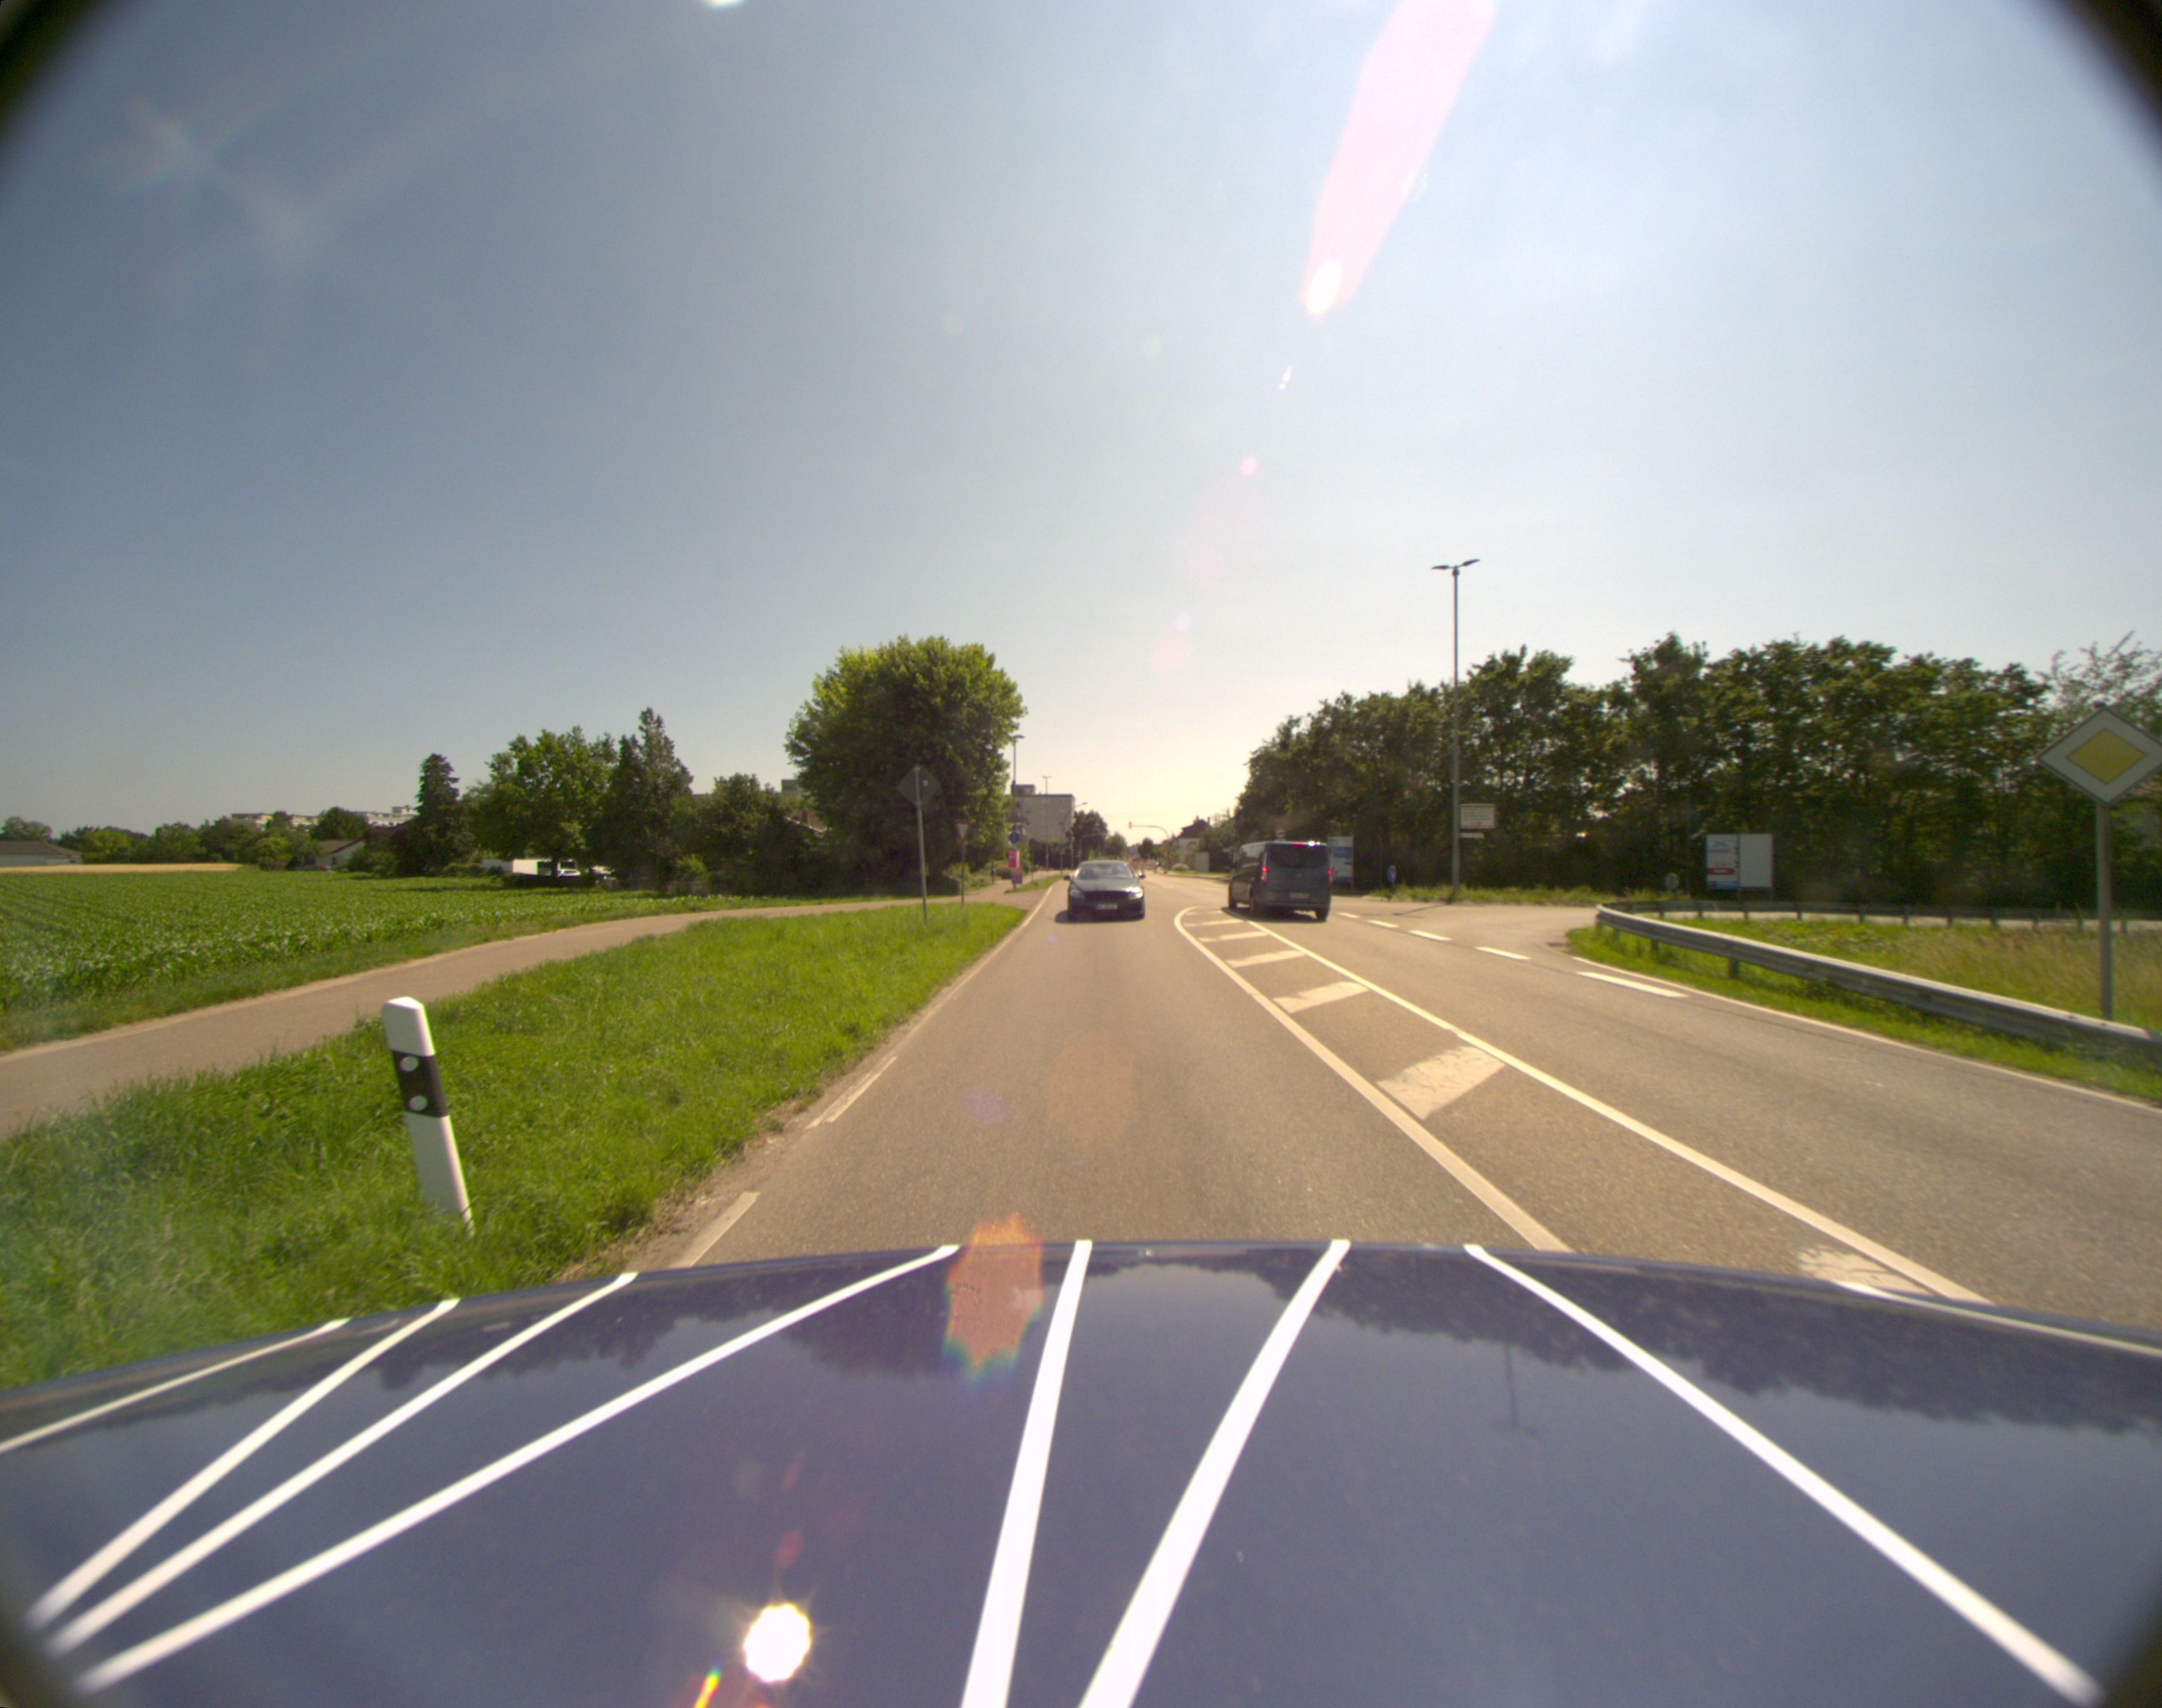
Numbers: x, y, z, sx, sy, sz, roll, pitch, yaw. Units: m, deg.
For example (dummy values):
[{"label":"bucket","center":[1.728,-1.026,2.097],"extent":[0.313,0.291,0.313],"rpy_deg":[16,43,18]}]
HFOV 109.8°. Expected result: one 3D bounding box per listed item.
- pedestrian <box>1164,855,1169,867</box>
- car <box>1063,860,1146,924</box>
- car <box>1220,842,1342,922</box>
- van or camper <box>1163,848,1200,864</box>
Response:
[{"label":"pedestrian","center":[11.501,0.970,102.054],"extent":[0.615,1.598,0.688],"rpy_deg":[-3,0,4]},{"label":"car","center":[0.554,0.894,20.110],"extent":[1.889,1.429,4.838],"rpy_deg":[-1,0,0]},{"label":"car","center":[5.435,0.696,21.433],"extent":[2.149,1.940,5.248],"rpy_deg":[1,0,2]},{"label":"van or camper","center":[18.138,0.342,137.414],"extent":[6.261,2.827,2.289],"rpy_deg":[0,0,-5]}]
